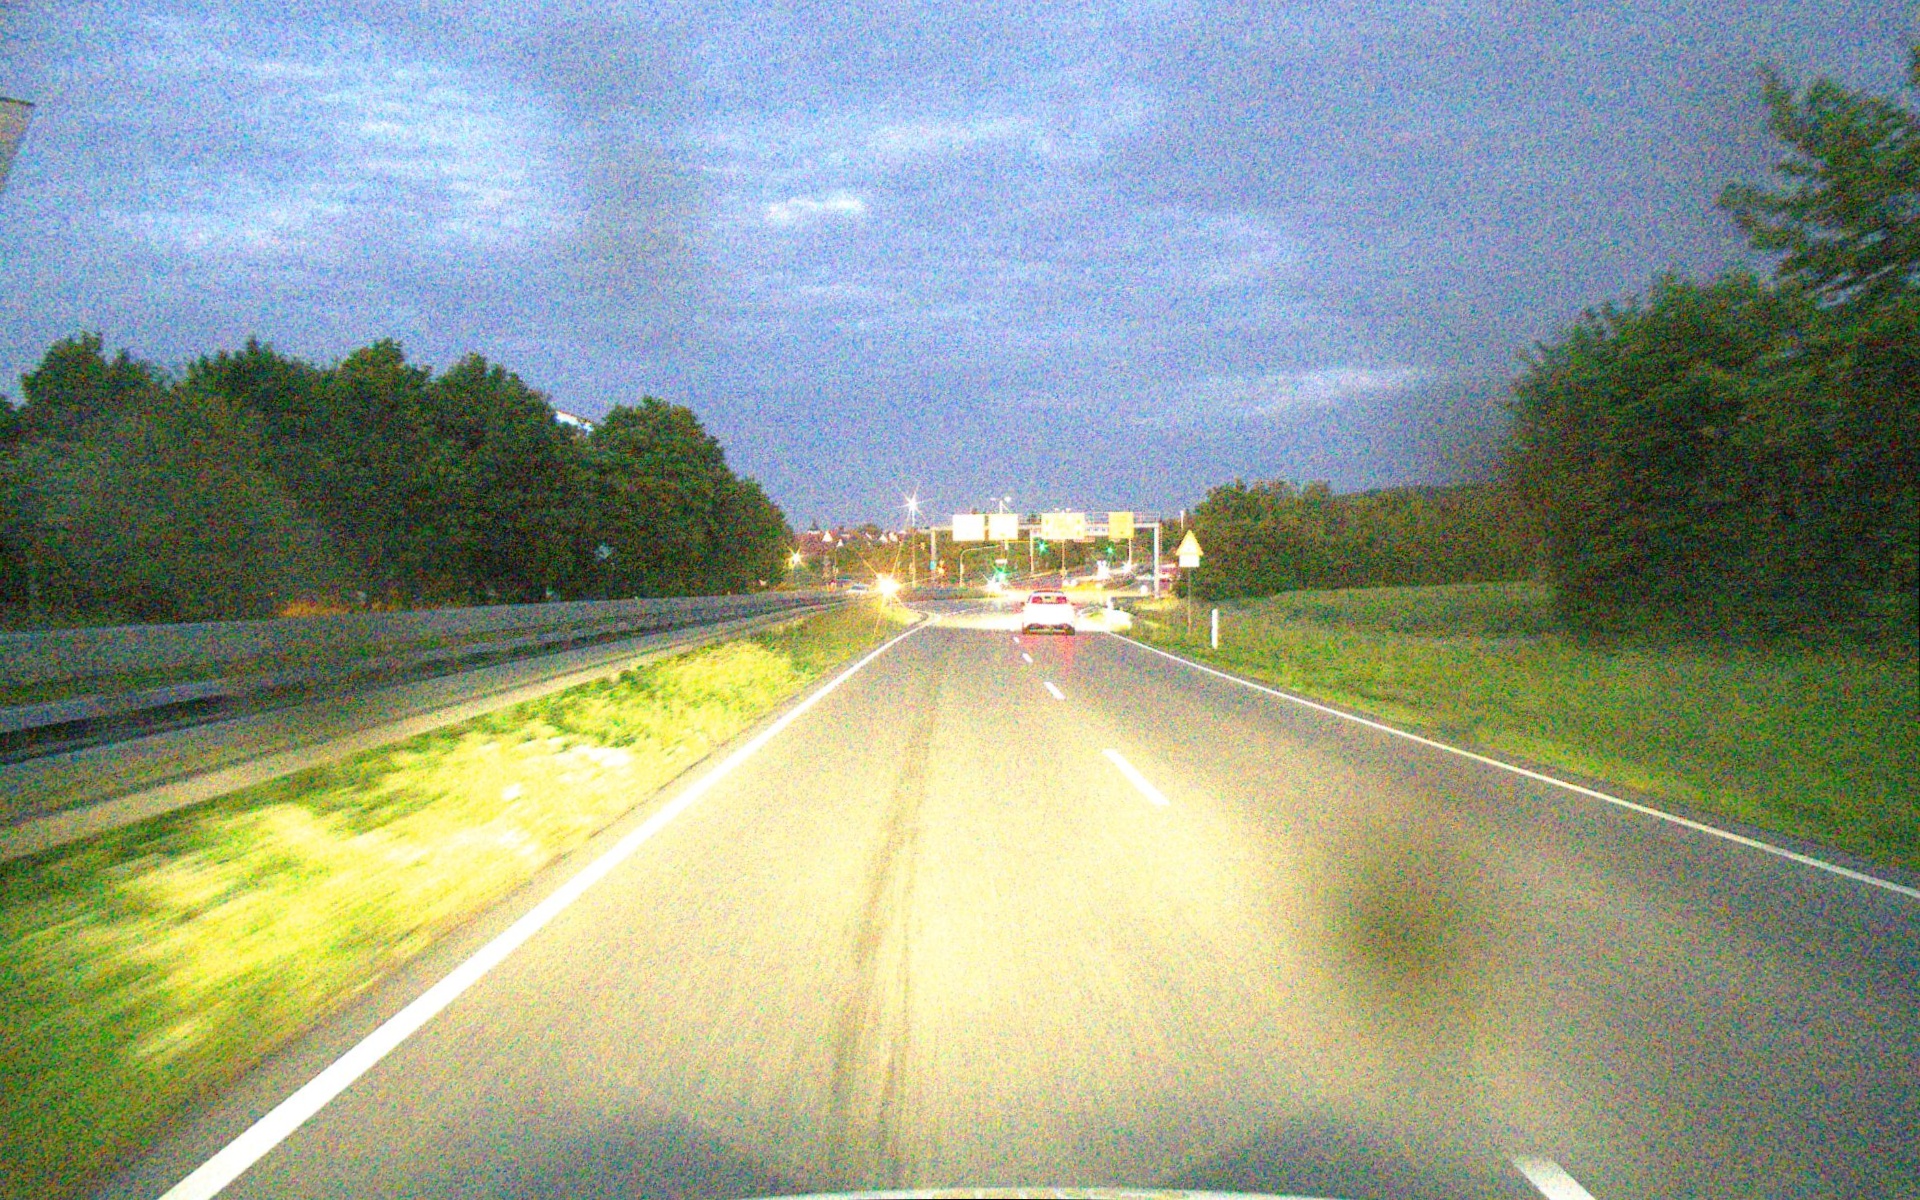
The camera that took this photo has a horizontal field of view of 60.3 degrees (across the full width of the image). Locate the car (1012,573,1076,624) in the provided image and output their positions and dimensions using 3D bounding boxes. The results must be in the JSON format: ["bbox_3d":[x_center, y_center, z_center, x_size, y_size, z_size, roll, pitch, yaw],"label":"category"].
[{"bbox_3d":[2.837,-0.067,56.510,1.966,1.639,3.845,1,0,0],"label":"car"}]

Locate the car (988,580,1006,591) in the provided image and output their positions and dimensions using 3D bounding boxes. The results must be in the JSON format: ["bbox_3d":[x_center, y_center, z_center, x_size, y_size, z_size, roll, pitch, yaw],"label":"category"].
[{"bbox_3d":[5.307,-2.095,237.877,1.951,1.450,4.536,1,1,10],"label":"car"}]
